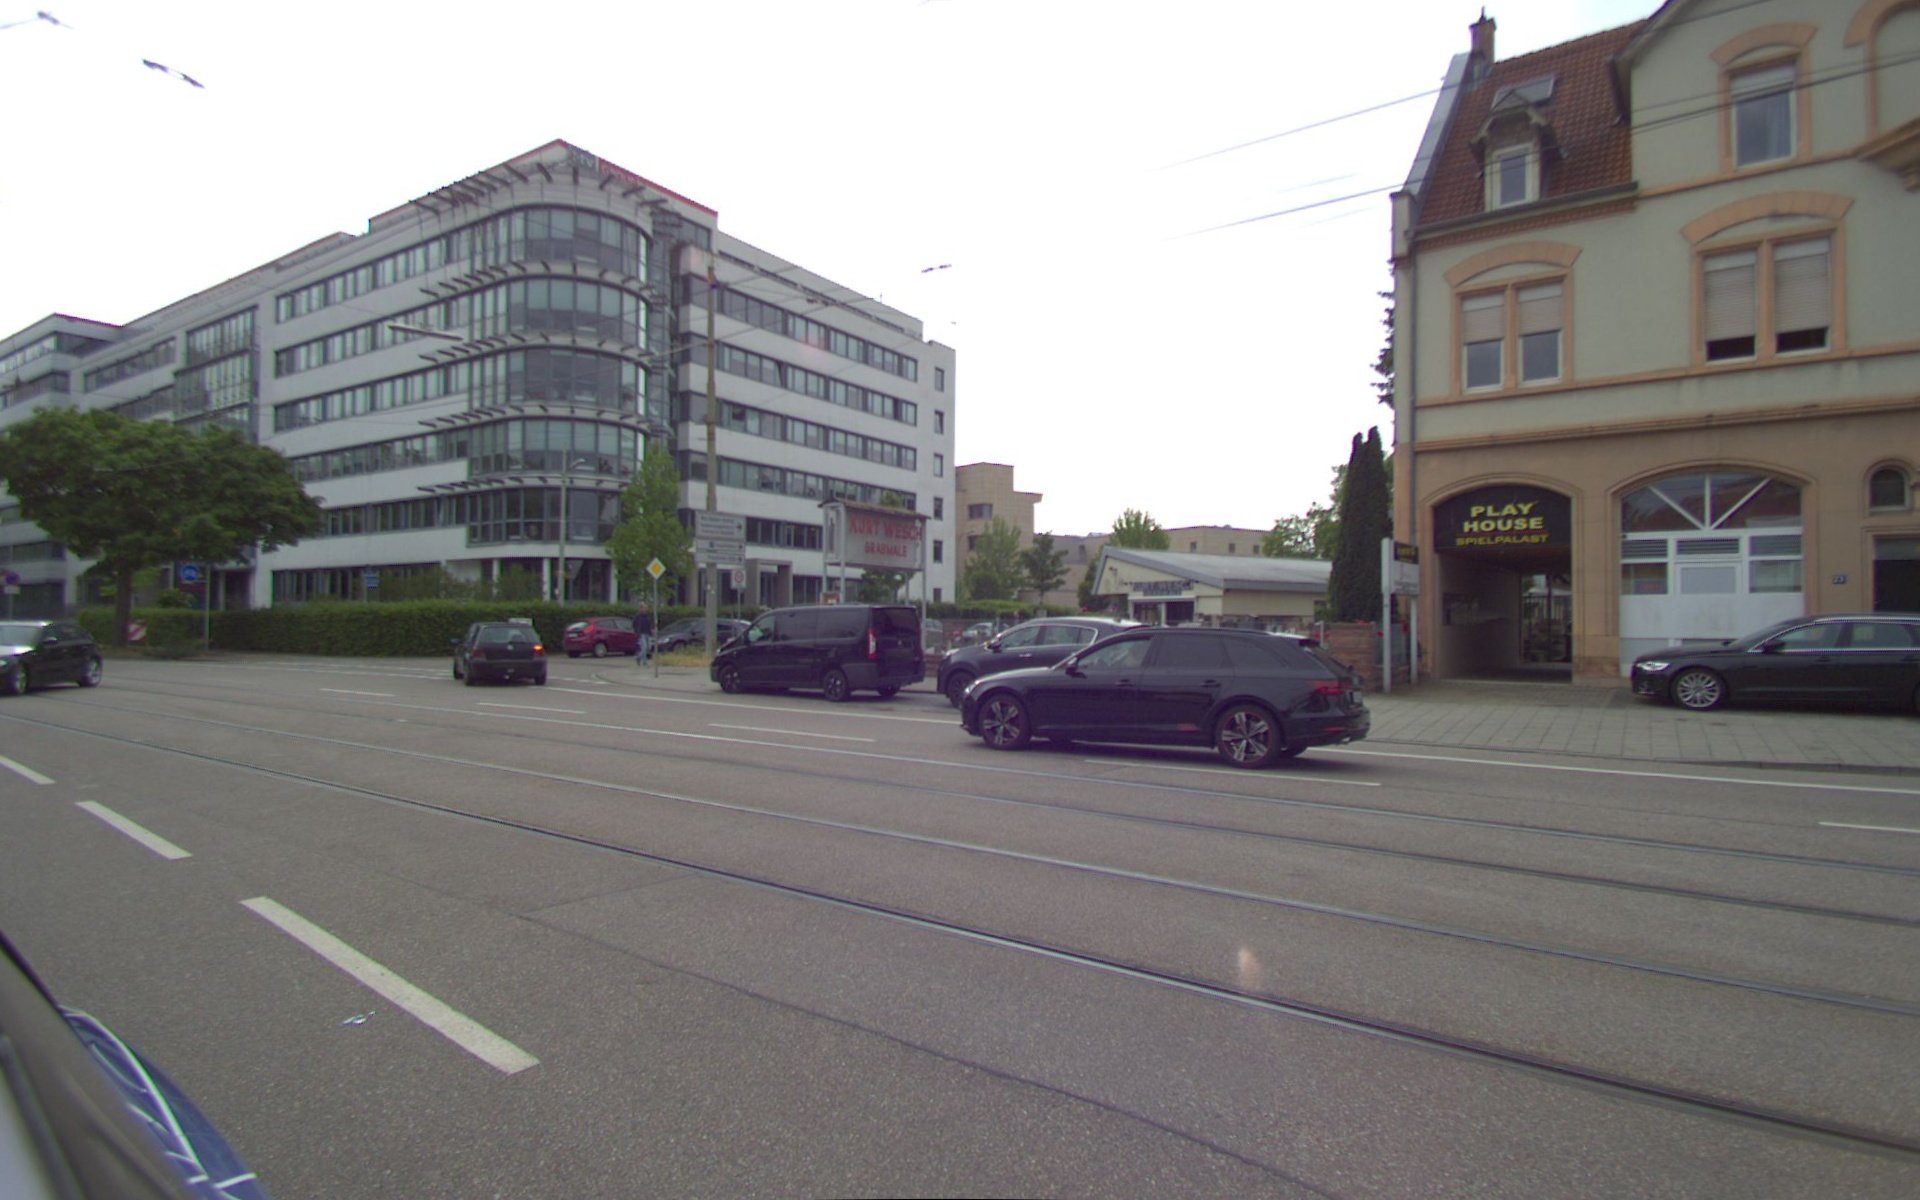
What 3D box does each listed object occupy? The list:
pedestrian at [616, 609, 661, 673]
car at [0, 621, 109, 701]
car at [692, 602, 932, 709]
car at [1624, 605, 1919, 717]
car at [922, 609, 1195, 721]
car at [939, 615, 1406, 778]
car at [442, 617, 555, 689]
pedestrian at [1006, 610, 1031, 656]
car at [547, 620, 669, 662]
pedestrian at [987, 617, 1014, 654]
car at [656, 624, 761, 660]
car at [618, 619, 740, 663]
[{"bbox_3d":[-9.360,1.175,29.463,1.058,1.839,0.796,-1,-1,38],"label":"pedestrian"},{"bbox_3d":[-18.364,1.119,19.329,1.757,1.379,4.125,0,-1,-17],"label":"car"},{"bbox_3d":[-3.241,1.071,21.556,5.174,2.029,1.969,0,0,36],"label":"car"},{"bbox_3d":[13.146,0.859,15.493,4.894,1.504,1.976,0,1,37],"label":"car"},{"bbox_3d":[1.733,1.108,18.388,4.523,1.762,2.020,-2,0,34],"label":"car"},{"bbox_3d":[2.297,0.950,11.361,4.801,1.484,1.891,0,-3,31],"label":"car"},{"bbox_3d":[-10.971,1.232,23.919,1.766,1.542,4.152,3,-3,-33],"label":"car"},{"bbox_3d":[2.298,1.279,39.611,0.761,1.787,0.628,-1,-1,40],"label":"pedestrian"},{"bbox_3d":[-12.826,1.490,37.067,1.721,1.433,3.973,-3,-3,34],"label":"car"},{"bbox_3d":[2.281,1.997,56.908,1.180,2.029,1.207,0,-2,22],"label":"pedestrian"},{"bbox_3d":[-10.103,1.650,40.857,1.774,1.359,4.003,0,-1,33],"label":"car"},{"bbox_3d":[-9.963,1.423,36.099,1.813,1.462,3.937,0,-2,37],"label":"car"}]
